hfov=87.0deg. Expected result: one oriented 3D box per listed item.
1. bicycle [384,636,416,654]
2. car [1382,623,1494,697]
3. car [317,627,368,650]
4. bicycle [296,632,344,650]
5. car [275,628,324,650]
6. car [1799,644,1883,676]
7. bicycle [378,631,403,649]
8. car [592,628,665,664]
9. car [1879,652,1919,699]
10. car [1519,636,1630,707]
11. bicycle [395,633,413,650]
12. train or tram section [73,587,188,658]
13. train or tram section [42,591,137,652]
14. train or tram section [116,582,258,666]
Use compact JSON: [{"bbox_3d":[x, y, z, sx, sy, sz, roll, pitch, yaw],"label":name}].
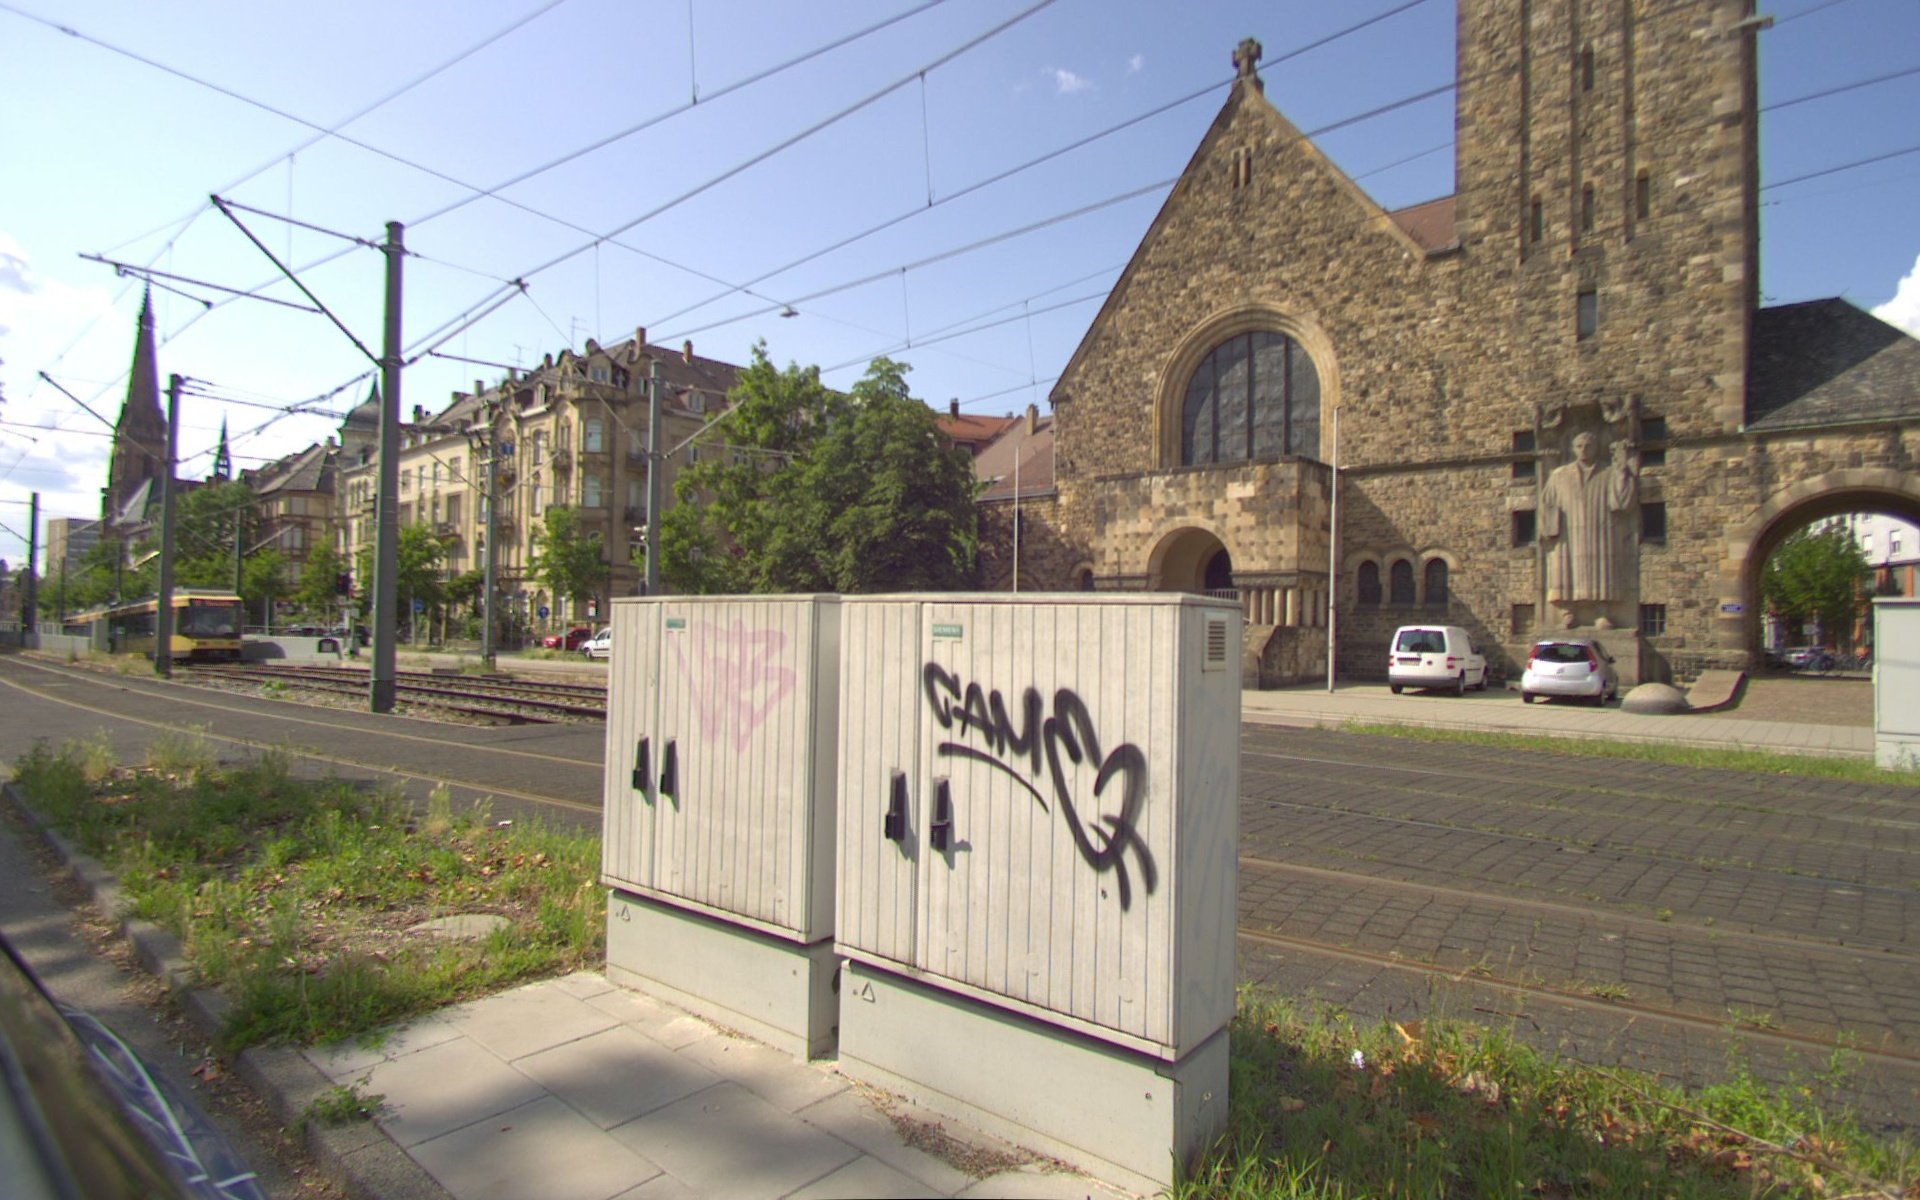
[{"bbox_3d":[-34.535,2.787,62.414,0.470,1.077,1.690,-1,-3,36],"label":"bicycle"},{"bbox_3d":[13.086,1.595,27.593,1.862,1.838,3.962,0,-2,39],"label":"car"},{"bbox_3d":[-41.614,2.578,68.131,4.708,1.514,1.667,-1,-3,43],"label":"car"},{"bbox_3d":[-46.072,2.984,72.886,0.790,1.256,2.926,-1,-3,29],"label":"bicycle"},{"bbox_3d":[-48.936,2.869,74.965,4.484,1.538,1.781,-1,-1,39],"label":"car"},{"bbox_3d":[46.804,3.147,53.886,1.779,1.609,4.051,0,-2,16],"label":"car"},{"bbox_3d":[-40.250,2.821,71.531,2.942,1.258,0.650,-1,0,42],"label":"bicycle"},{"bbox_3d":[-14.488,2.001,44.107,1.647,1.427,3.851,5,-4,-39],"label":"car"},{"bbox_3d":[35.599,2.733,35.860,1.998,1.665,3.983,1,-2,-16],"label":"car"},{"bbox_3d":[15.174,1.705,24.923,1.797,1.559,3.728,0,-2,40],"label":"car"},{"bbox_3d":[-38.207,2.854,69.530,2.023,1.148,0.423,-1,0,42],"label":"bicycle"},{"bbox_3d":[-46.924,1.264,57.033,12.829,3.607,2.823,-1,-3,41],"label":"train or tram section"},{"bbox_3d":[-56.534,1.388,65.565,12.829,3.607,2.823,-1,-3,41],"label":"train or tram section"},{"bbox_3d":[-37.264,1.139,48.503,12.829,3.607,2.823,-1,-3,41],"label":"train or tram section"}]
